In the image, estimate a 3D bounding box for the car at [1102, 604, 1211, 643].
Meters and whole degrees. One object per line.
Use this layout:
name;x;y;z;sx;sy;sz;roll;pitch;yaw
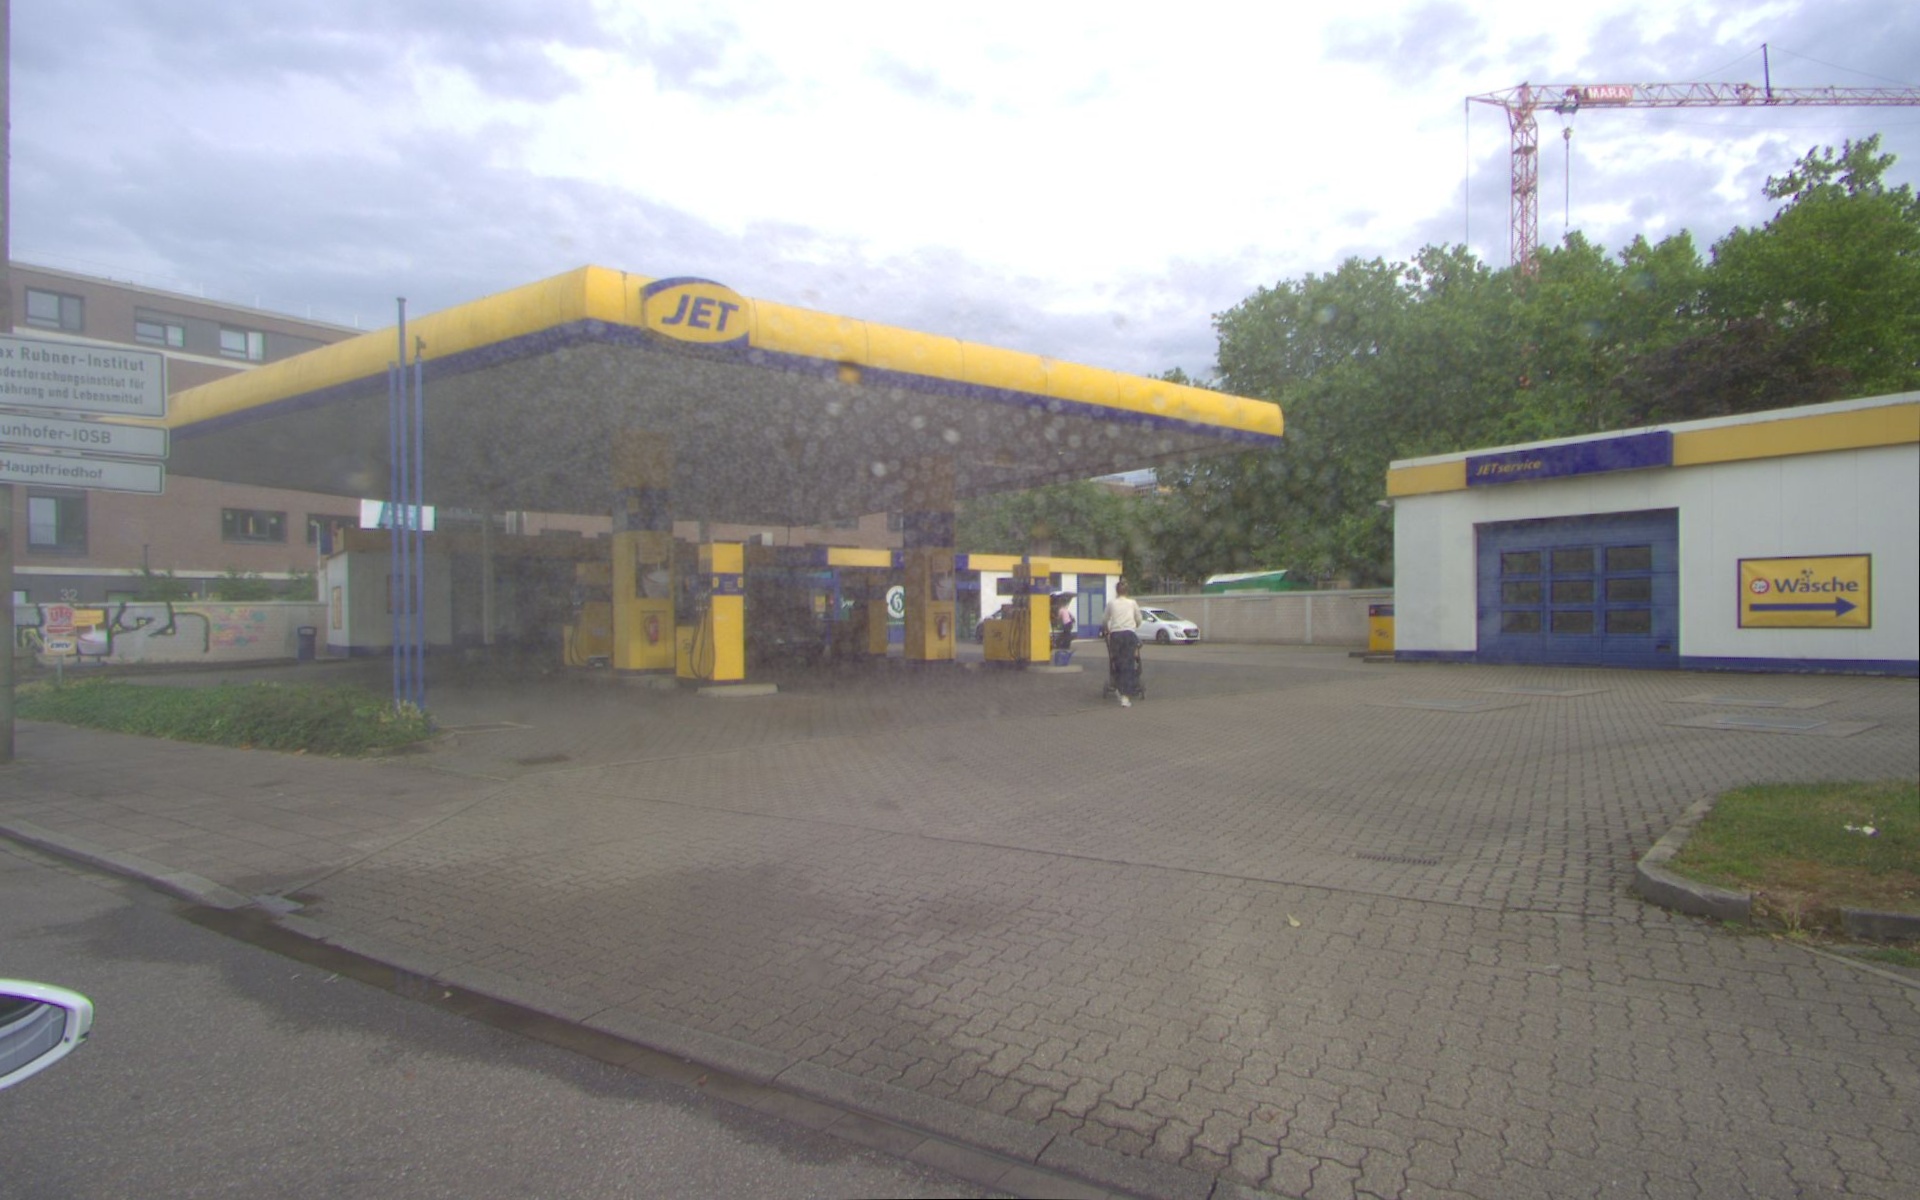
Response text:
car;8.142;1.032;41.851;1.915;1.546;4.302;2;-3;-38

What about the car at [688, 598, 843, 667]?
car;-4.906;0.788;24.818;1.973;1.516;4.292;-1;-1;-39

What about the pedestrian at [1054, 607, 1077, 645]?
pedestrian;3.829;0.961;36.438;0.573;1.364;0.607;1;-2;-38

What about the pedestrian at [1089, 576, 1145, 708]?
pedestrian;2.269;0.564;14.416;0.755;1.821;1.161;0;2;10

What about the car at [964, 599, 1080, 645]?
car;2.316;0.901;38.288;1.821;1.658;4.440;2;-3;-42

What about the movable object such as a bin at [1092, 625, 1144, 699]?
movable object such as a bin;2.426;0.925;15.348;0.755;1.053;1.023;0;1;10
